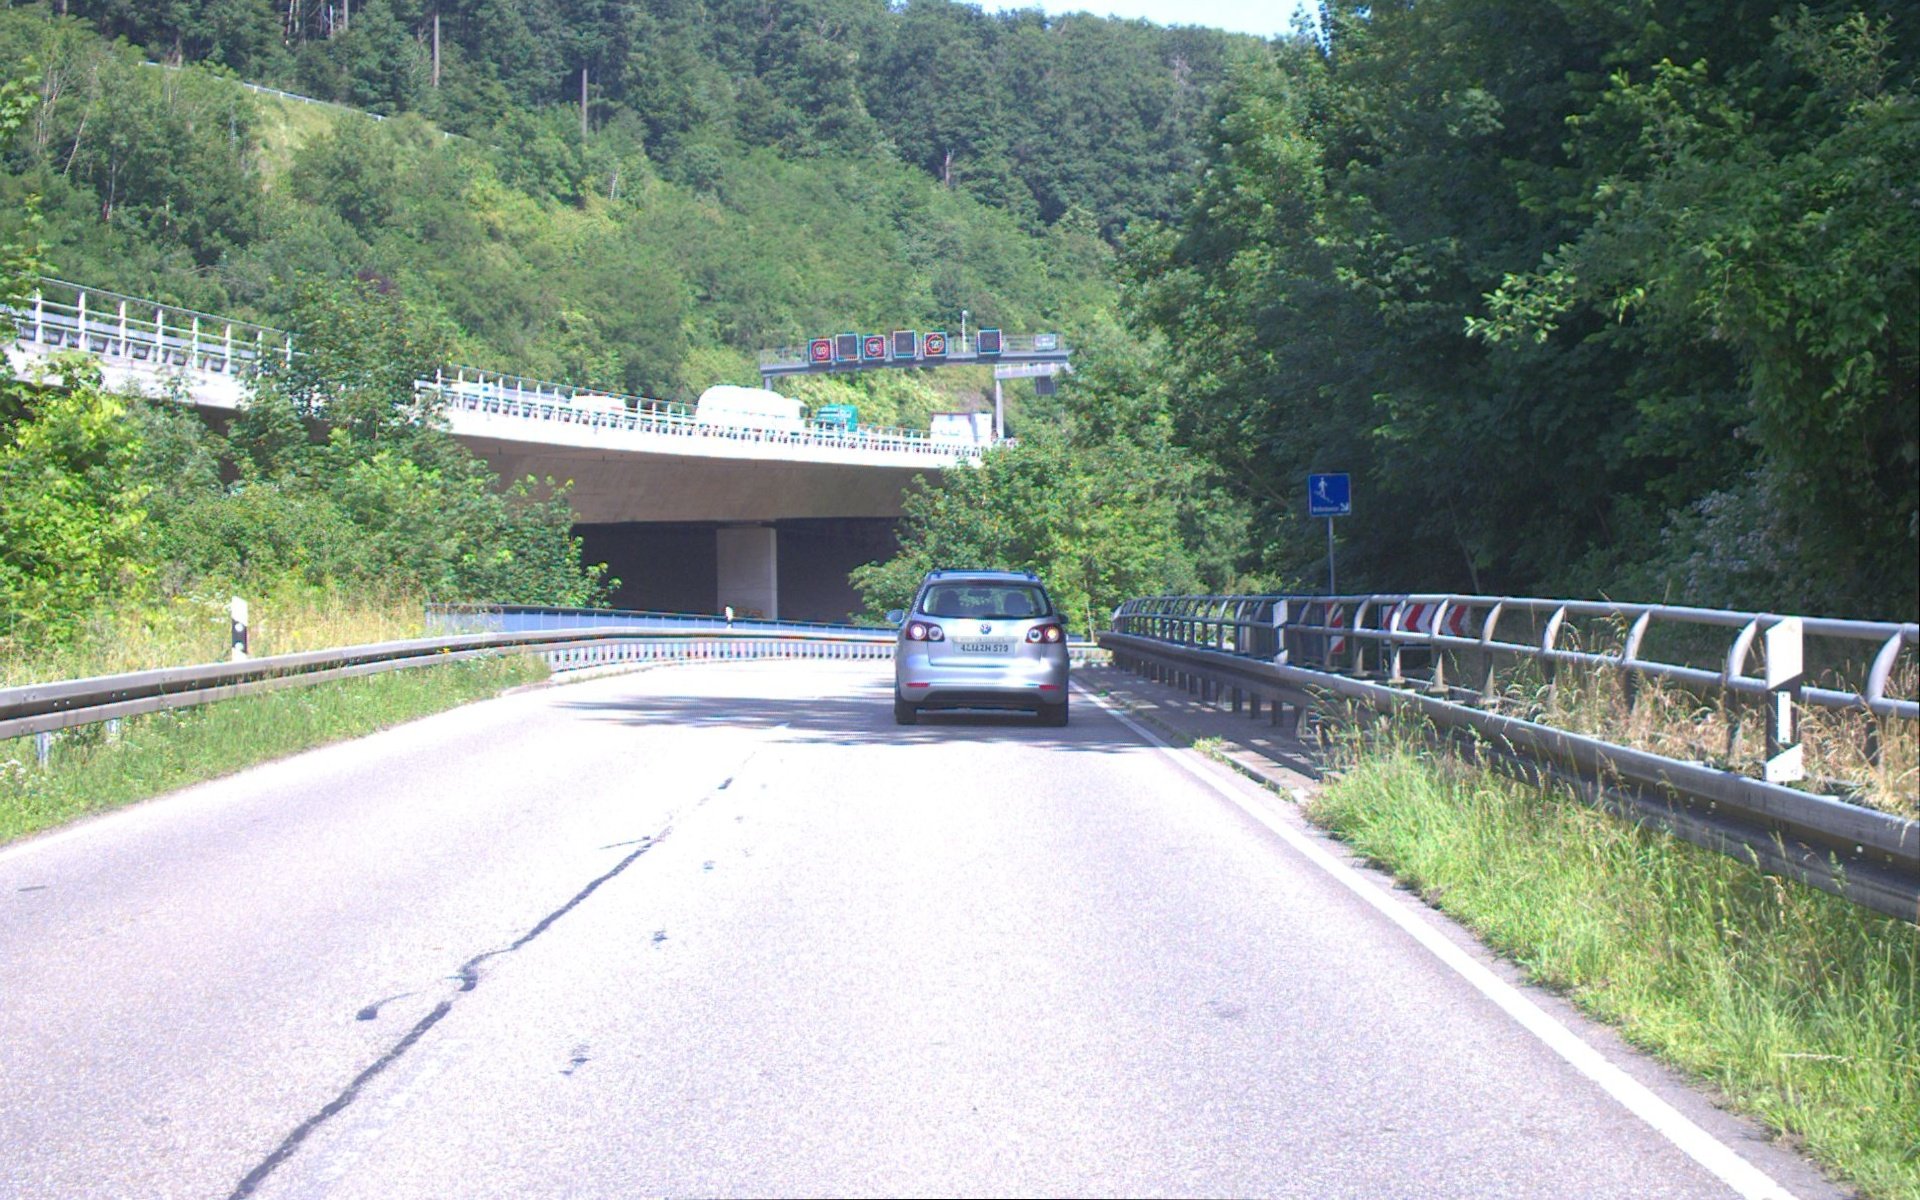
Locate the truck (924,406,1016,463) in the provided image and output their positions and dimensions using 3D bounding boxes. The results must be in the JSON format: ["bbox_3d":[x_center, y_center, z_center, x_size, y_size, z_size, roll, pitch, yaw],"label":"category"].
[{"bbox_3d":[0.716,-10.610,221.475,3.761,3.373,10.502,1,1,12],"label":"truck"}]

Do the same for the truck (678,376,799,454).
[{"bbox_3d":[-10.788,-9.023,168.721,3.371,3.343,10.171,1,1,11],"label":"truck"}]

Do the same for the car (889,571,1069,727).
[{"bbox_3d":[0.164,0.467,35.691,1.751,1.515,4.159,1,0,-1],"label":"car"}]
